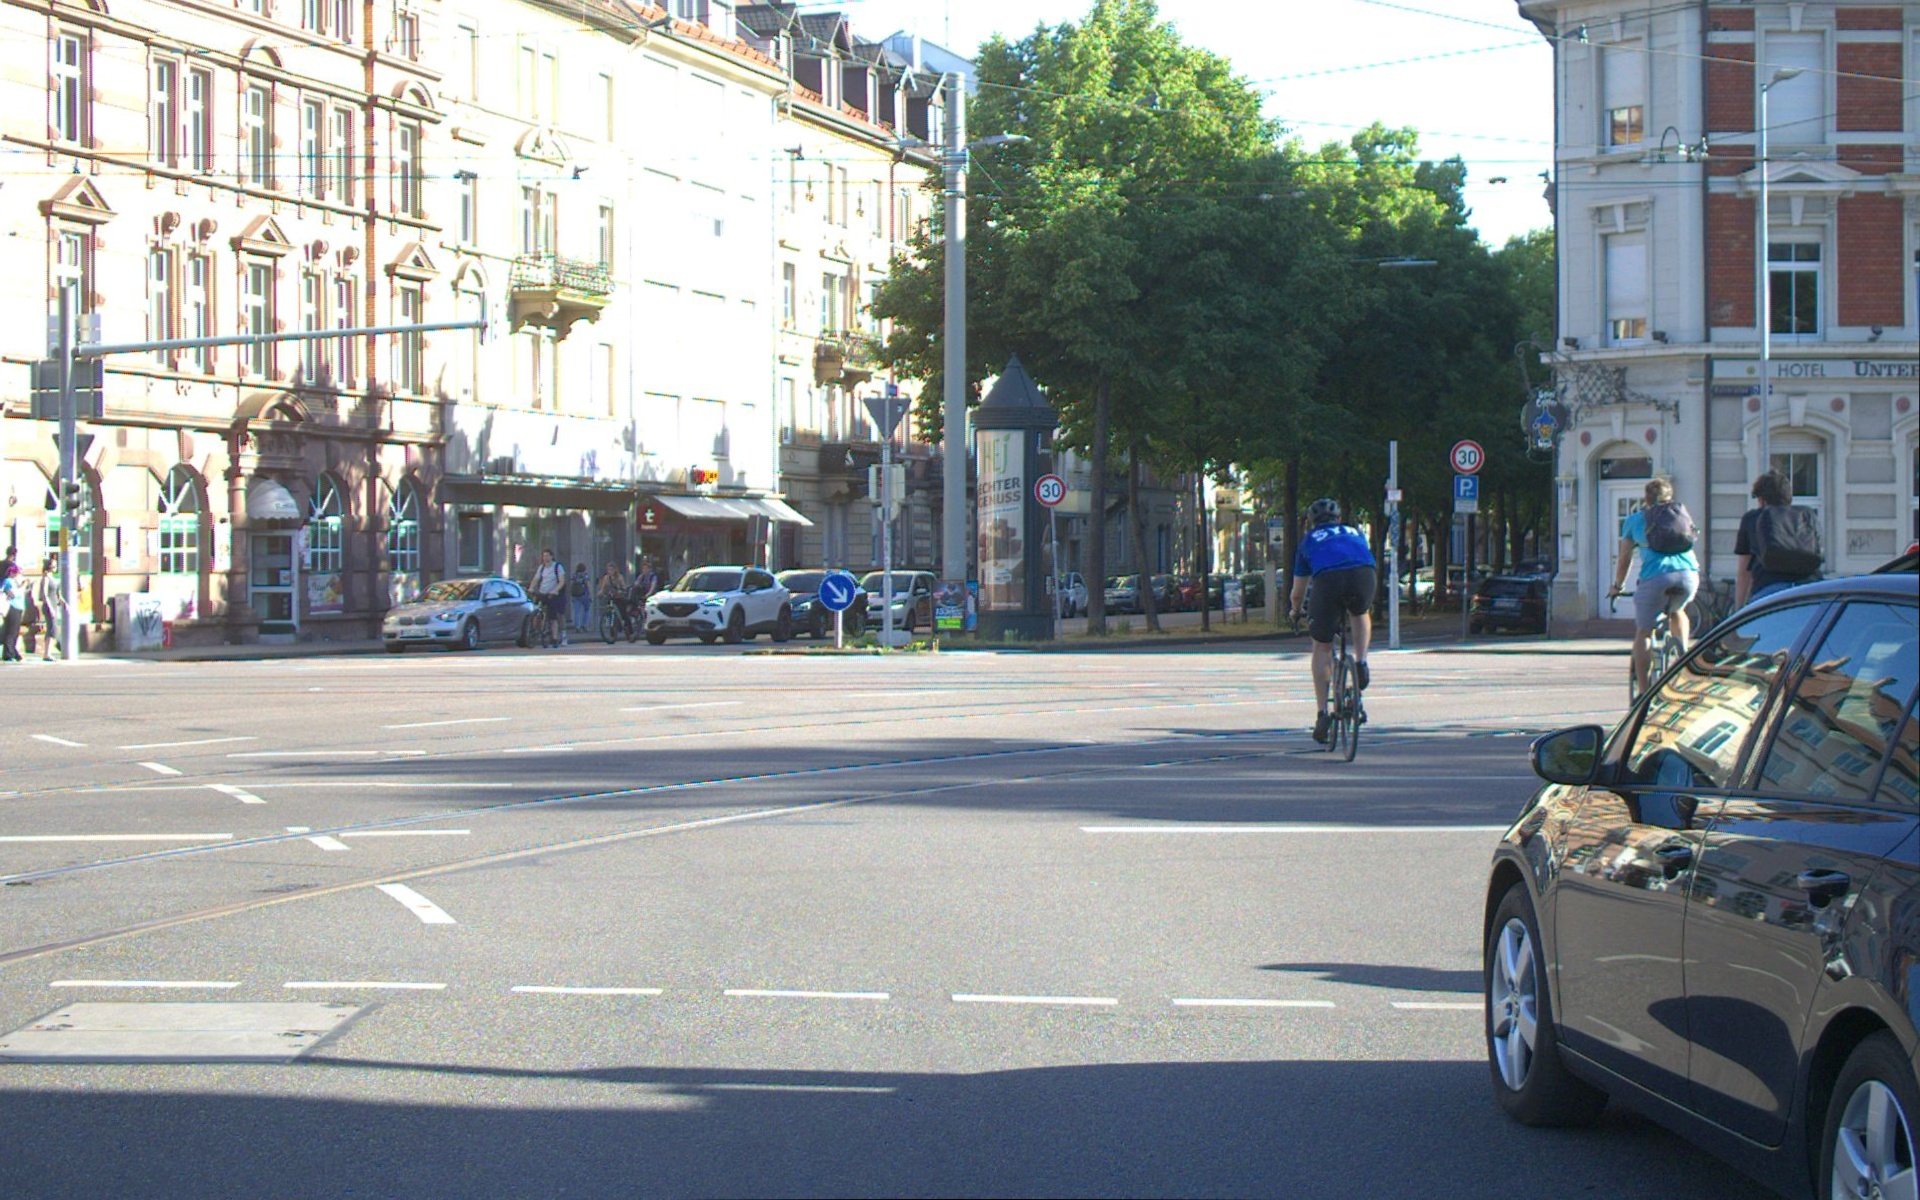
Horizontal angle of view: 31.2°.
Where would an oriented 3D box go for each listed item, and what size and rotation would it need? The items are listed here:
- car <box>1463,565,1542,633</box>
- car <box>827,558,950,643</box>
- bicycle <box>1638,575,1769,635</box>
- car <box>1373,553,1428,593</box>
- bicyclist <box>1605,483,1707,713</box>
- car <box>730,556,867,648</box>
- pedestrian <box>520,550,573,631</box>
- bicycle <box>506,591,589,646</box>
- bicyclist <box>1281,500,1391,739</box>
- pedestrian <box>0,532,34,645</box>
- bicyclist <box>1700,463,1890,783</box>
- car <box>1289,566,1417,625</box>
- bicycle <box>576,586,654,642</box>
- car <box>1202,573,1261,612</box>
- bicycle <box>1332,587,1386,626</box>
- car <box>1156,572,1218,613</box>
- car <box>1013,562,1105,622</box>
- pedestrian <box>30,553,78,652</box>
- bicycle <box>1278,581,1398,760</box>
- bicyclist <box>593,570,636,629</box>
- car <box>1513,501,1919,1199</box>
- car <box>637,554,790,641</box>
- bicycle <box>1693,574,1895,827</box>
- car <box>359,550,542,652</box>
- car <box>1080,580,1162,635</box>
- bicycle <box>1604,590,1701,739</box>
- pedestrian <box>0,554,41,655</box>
[{"bbox_3d":[13.058,-0.035,82.607,1.692,1.559,3.839,1,1,11],"label":"car"},{"bbox_3d":[-1.634,-0.011,79.812,1.994,1.897,3.998,1,1,11],"label":"car"},{"bbox_3d":[12.347,0.083,57.111,2.049,0.994,0.630,0,0,3],"label":"bicycle"},{"bbox_3d":[17.276,-1.058,134.751,1.560,1.508,3.653,1,1,17],"label":"car"},{"bbox_3d":[5.061,-0.020,24.978,0.690,1.627,0.883,1,0,12],"label":"bicyclist"},{"bbox_3d":[-3.425,0.026,73.515,1.994,1.897,3.998,1,1,11],"label":"car"},{"bbox_3d":[-7.837,-0.184,65.221,0.821,1.507,0.598,1,0,15],"label":"pedestrian"},{"bbox_3d":[-7.823,0.343,65.301,0.763,1.004,2.395,1,1,13],"label":"bicycle"},{"bbox_3d":[2.407,0.113,22.100,0.639,1.489,0.883,1,2,4],"label":"bicyclist"},{"bbox_3d":[-15.930,-0.193,57.714,0.633,1.875,0.465,1,0,-4],"label":"pedestrian"},{"bbox_3d":[4.304,0.112,17.772,0.806,1.601,0.883,1,0,5],"label":"bicyclist"},{"bbox_3d":[13.150,-0.154,114.988,3.990,1.897,1.998,1,0,16],"label":"car"},{"bbox_3d":[-7.057,0.279,70.436,0.651,1.119,2.250,1,1,21],"label":"bicycle"},{"bbox_3d":[10.751,-0.294,135.954,1.560,1.508,3.653,1,1,17],"label":"car"},{"bbox_3d":[11.495,0.177,99.085,0.626,1.081,1.703,1,1,-31],"label":"bicycle"},{"bbox_3d":[8.723,-0.301,131.985,1.560,1.508,3.653,1,1,17],"label":"car"},{"bbox_3d":[3.269,-0.269,112.717,1.995,1.897,3.997,1,1,17],"label":"car"},{"bbox_3d":[-15.099,0.040,57.278,0.633,1.628,0.701,1,0,-4],"label":"pedestrian"},{"bbox_3d":[2.401,0.429,21.987,0.626,1.081,1.703,1,1,2],"label":"bicycle"},{"bbox_3d":[-7.070,-0.011,70.334,0.632,1.181,0.684,1,0,21],"label":"bicyclist"},{"bbox_3d":[2.387,0.586,7.220,1.728,1.502,4.051,1,2,-1],"label":"car"},{"bbox_3d":[-4.799,-0.064,67.480,1.994,1.612,3.998,1,1,11],"label":"car"},{"bbox_3d":[4.293,0.489,17.806,0.755,1.232,1.702,1,0,5],"label":"bicycle"},{"bbox_3d":[-9.910,-0.001,67.169,1.995,1.897,3.997,1,1,17],"label":"car"},{"bbox_3d":[5.764,0.259,122.637,1.995,1.897,3.997,1,1,17],"label":"car"},{"bbox_3d":[5.069,0.452,25.105,0.650,1.028,1.770,1,1,13],"label":"bicycle"},{"bbox_3d":[-15.340,0.065,55.918,0.633,1.628,0.701,1,0,-4],"label":"pedestrian"}]
